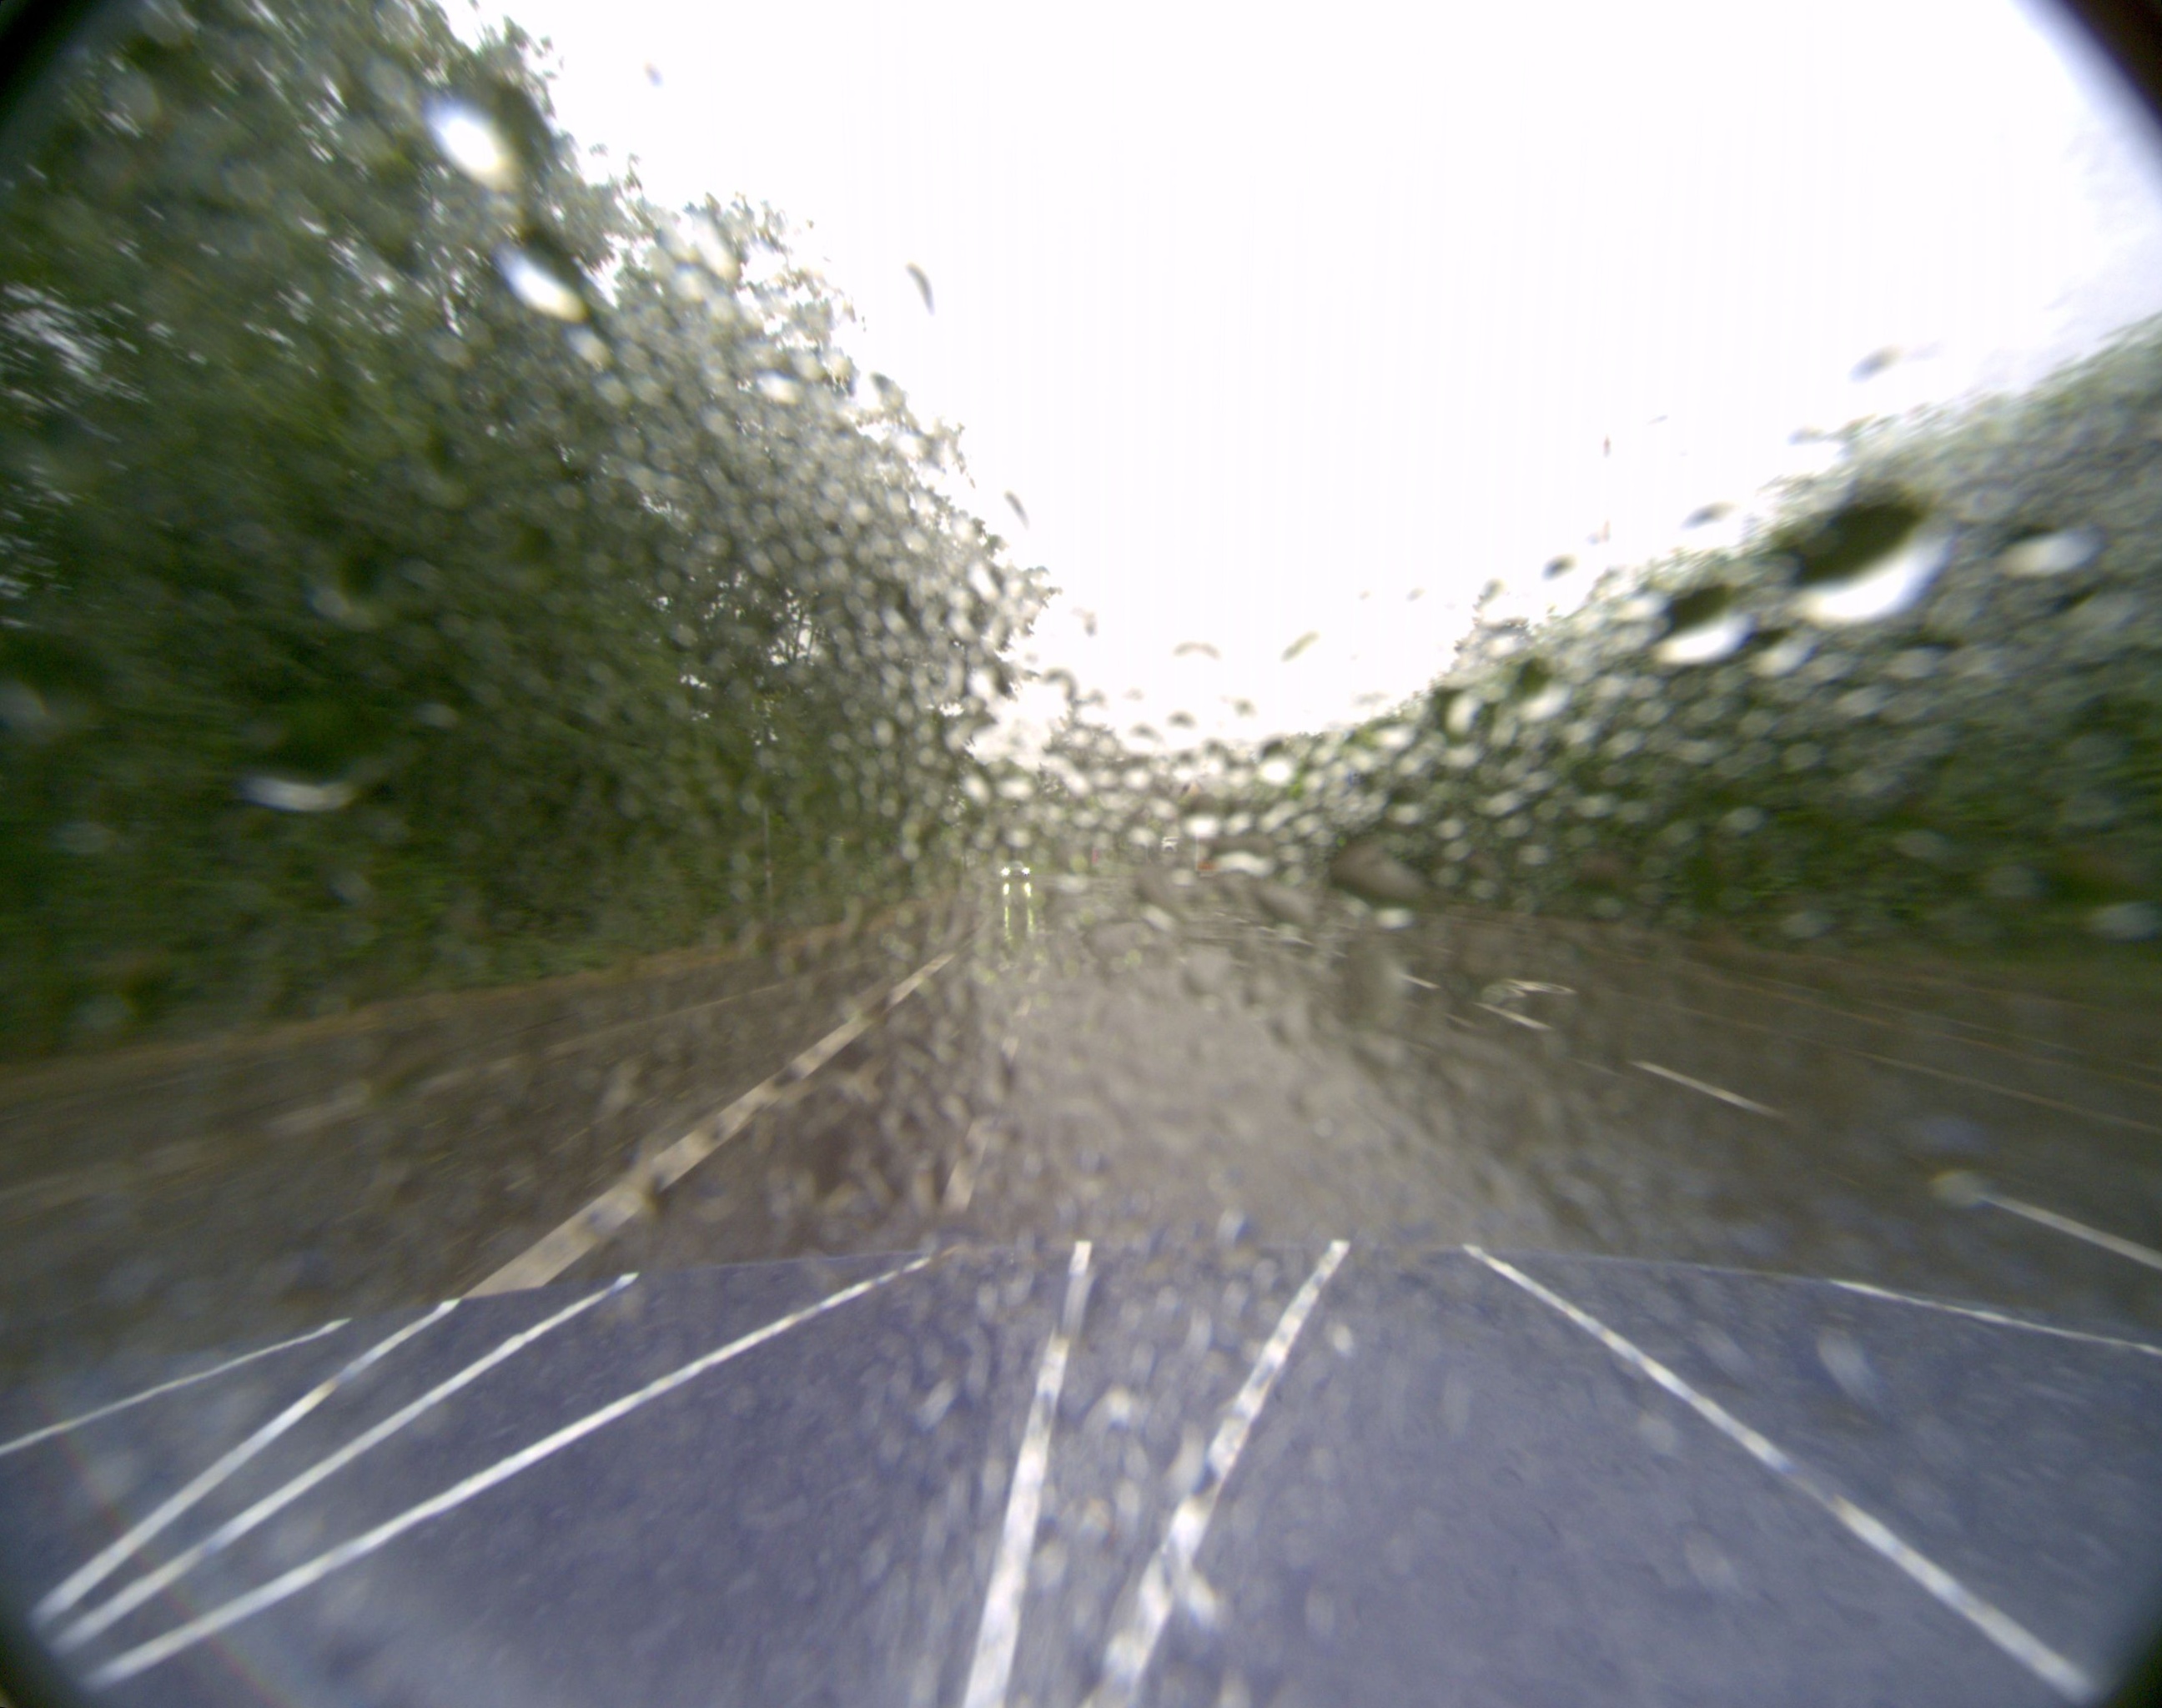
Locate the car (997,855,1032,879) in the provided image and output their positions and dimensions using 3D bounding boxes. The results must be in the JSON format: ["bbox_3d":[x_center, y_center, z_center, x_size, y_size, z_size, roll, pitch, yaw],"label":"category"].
[{"bbox_3d":[-4.788,0.925,54.383,1.801,1.543,3.995,-3,0,-15],"label":"car"}]
